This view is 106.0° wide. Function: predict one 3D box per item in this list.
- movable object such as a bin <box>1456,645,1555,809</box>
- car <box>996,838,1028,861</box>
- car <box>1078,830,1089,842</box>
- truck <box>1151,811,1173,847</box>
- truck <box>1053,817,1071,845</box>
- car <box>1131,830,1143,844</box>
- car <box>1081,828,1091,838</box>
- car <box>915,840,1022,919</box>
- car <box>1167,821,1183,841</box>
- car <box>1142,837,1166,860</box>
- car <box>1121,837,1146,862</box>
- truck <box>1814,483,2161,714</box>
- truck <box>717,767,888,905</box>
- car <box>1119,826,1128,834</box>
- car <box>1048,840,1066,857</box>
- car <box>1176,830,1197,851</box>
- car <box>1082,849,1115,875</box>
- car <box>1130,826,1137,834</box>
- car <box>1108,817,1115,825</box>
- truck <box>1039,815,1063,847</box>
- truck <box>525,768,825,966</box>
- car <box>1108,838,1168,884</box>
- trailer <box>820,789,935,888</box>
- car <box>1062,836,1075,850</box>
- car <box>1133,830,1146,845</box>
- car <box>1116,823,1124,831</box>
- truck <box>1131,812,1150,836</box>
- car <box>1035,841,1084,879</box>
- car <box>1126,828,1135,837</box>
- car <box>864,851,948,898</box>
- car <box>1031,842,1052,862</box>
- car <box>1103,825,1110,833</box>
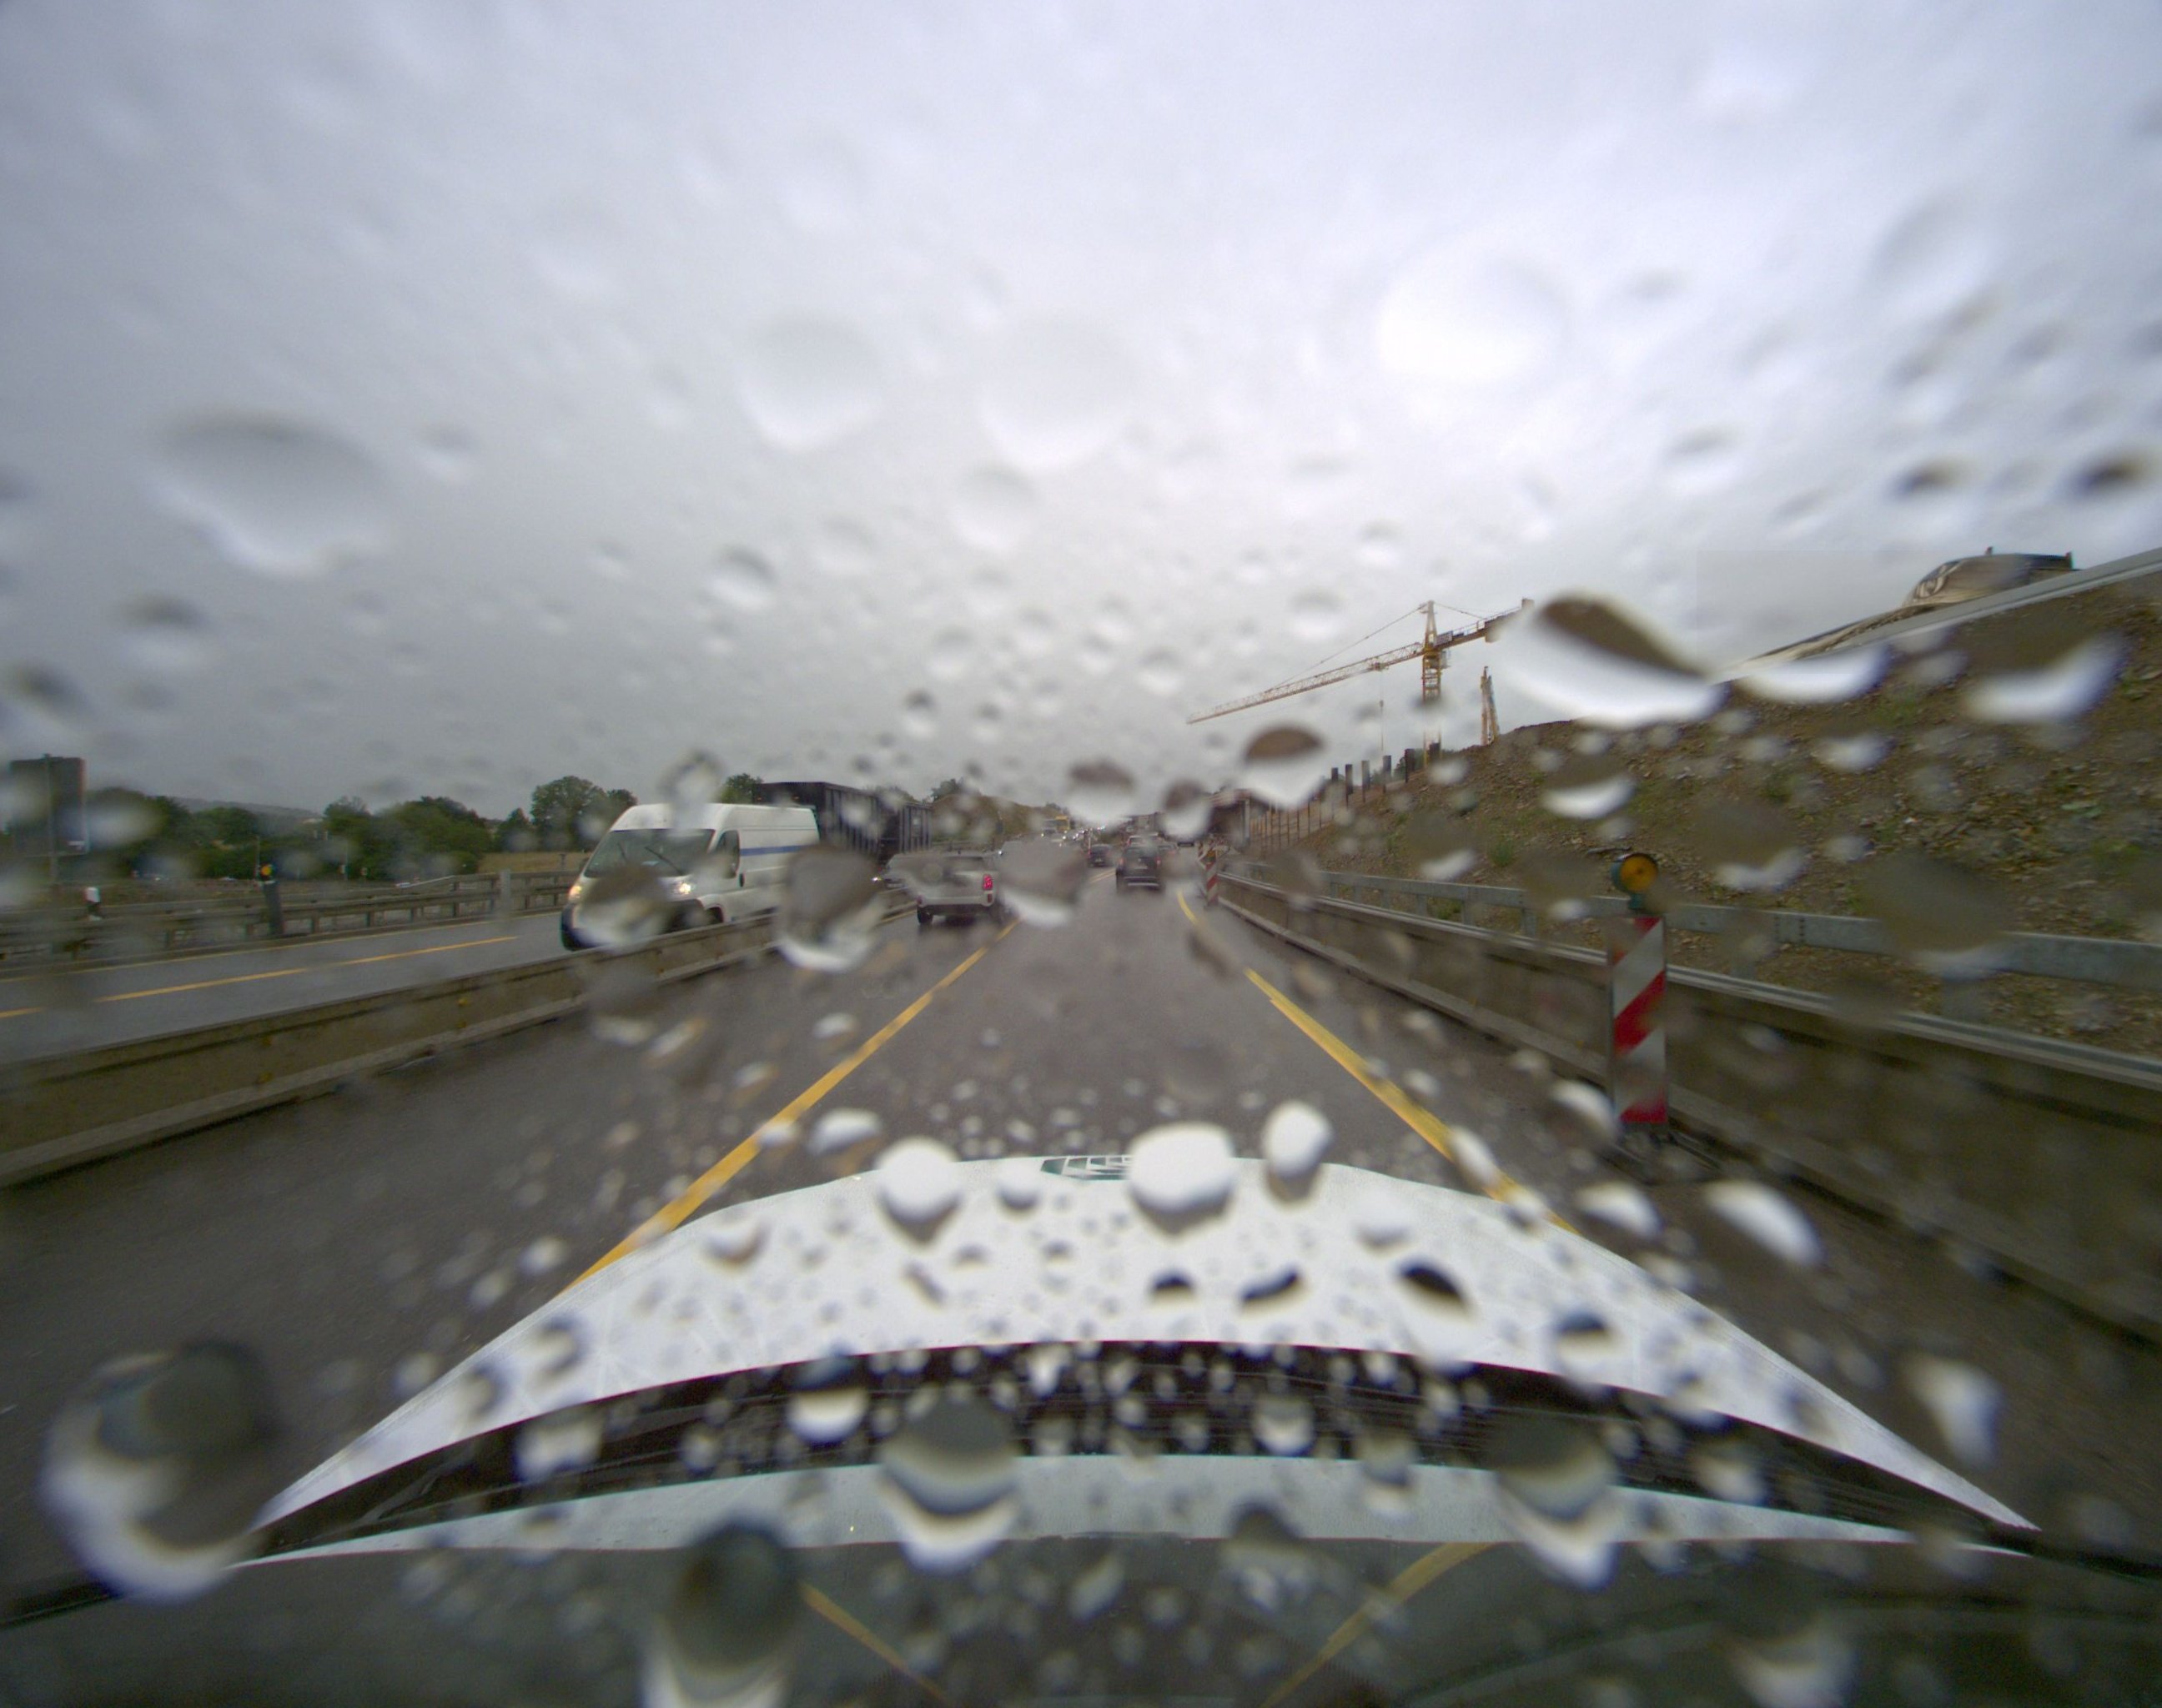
[{"bbox_3d":[33.058,-9.439,64.101,4.683,10.843,10.345,-1,-2,16],"label":"movable object such as a bin"},{"bbox_3d":[-5.135,-0.347,61.359,1.731,1.684,5.554,0,0,2],"label":"car"},{"bbox_3d":[0.585,-3.907,176.043,2.229,2.359,4.880,0,0,2],"label":"car"},{"bbox_3d":[13.600,-4.084,136.363,3.083,5.427,9.465,-1,-2,9],"label":"truck"},{"bbox_3d":[-3.800,-4.642,165.236,3.129,5.418,8.528,0,0,2],"label":"truck"},{"bbox_3d":[10.021,-3.039,145.681,1.986,2.163,4.140,-1,-2,1],"label":"car"},{"bbox_3d":[1.147,-4.903,191.164,2.208,2.370,4.666,0,0,2],"label":"car"},{"bbox_3d":[-2.462,0.570,18.816,1.810,1.600,4.307,-1,-1,0],"label":"car"},{"bbox_3d":[13.226,-3.213,115.121,1.985,2.484,4.985,-1,-2,3],"label":"car"},{"bbox_3d":[7.573,-0.558,83.845,1.980,2.163,4.153,-1,-2,12],"label":"car"},{"bbox_3d":[4.519,-0.356,70.595,1.987,2.014,3.893,-1,-2,1],"label":"car"},{"bbox_3d":[19.619,-4.905,16.856,2.636,2.555,6.984,-1,-2,1],"label":"truck"},{"bbox_3d":[-9.169,-0.580,28.238,2.633,3.970,9.213,-1,1,0],"label":"truck"},{"bbox_3d":[10.574,-5.967,203.555,1.986,2.013,4.001,-2,0,1],"label":"car"},{"bbox_3d":[-2.821,-0.634,96.064,1.779,1.810,4.500,-1,-2,2],"label":"car"},{"bbox_3d":[11.725,-1.470,90.598,1.985,2.163,4.143,-1,-2,3],"label":"car"},{"bbox_3d":[1.100,0.552,52.781,1.987,1.600,4.139,-1,-2,0],"label":"car"},{"bbox_3d":[15.355,-6.897,237.902,1.987,2.014,4.000,-1,-2,1],"label":"car"},{"bbox_3d":[9.127,-10.003,246.189,1.986,2.014,4.000,-1,-2,1],"label":"car"},{"bbox_3d":[-4.699,-3.576,129.609,3.071,4.919,8.569,0,0,2],"label":"truck"},{"bbox_3d":[-6.582,0.187,14.310,2.140,2.713,6.016,-1,0,1],"label":"truck"},{"bbox_3d":[2.081,0.305,30.790,2.073,1.600,4.142,-1,-2,2],"label":"car"},{"bbox_3d":[-9.068,-0.673,37.686,2.737,3.970,9.674,-1,1,0],"label":"trailer"},{"bbox_3d":[-1.771,-1.502,116.459,1.616,1.810,3.639,-1,-2,2],"label":"car"},{"bbox_3d":[9.607,-2.669,133.999,1.985,2.163,4.144,-1,-2,4],"label":"car"},{"bbox_3d":[10.986,-7.608,230.978,1.986,2.013,4.001,-2,0,1],"label":"car"},{"bbox_3d":[14.356,-7.128,196.624,3.790,5.043,12.921,-1,-2,1],"label":"truck"},{"bbox_3d":[-0.955,0.327,37.915,1.986,1.600,4.142,-1,-2,2],"label":"car"},{"bbox_3d":[11.301,-4.876,185.497,1.842,1.894,4.023,-1,-2,2],"label":"car"},{"bbox_3d":[-6.038,0.650,28.646,1.862,1.471,4.670,-1,0,0],"label":"car"},{"bbox_3d":[-3.905,-0.207,81.122,1.779,1.810,4.500,-1,-2,2],"label":"car"},{"bbox_3d":[7.228,-7.185,232.124,1.986,2.014,4.000,-1,-2,1],"label":"car"}]
